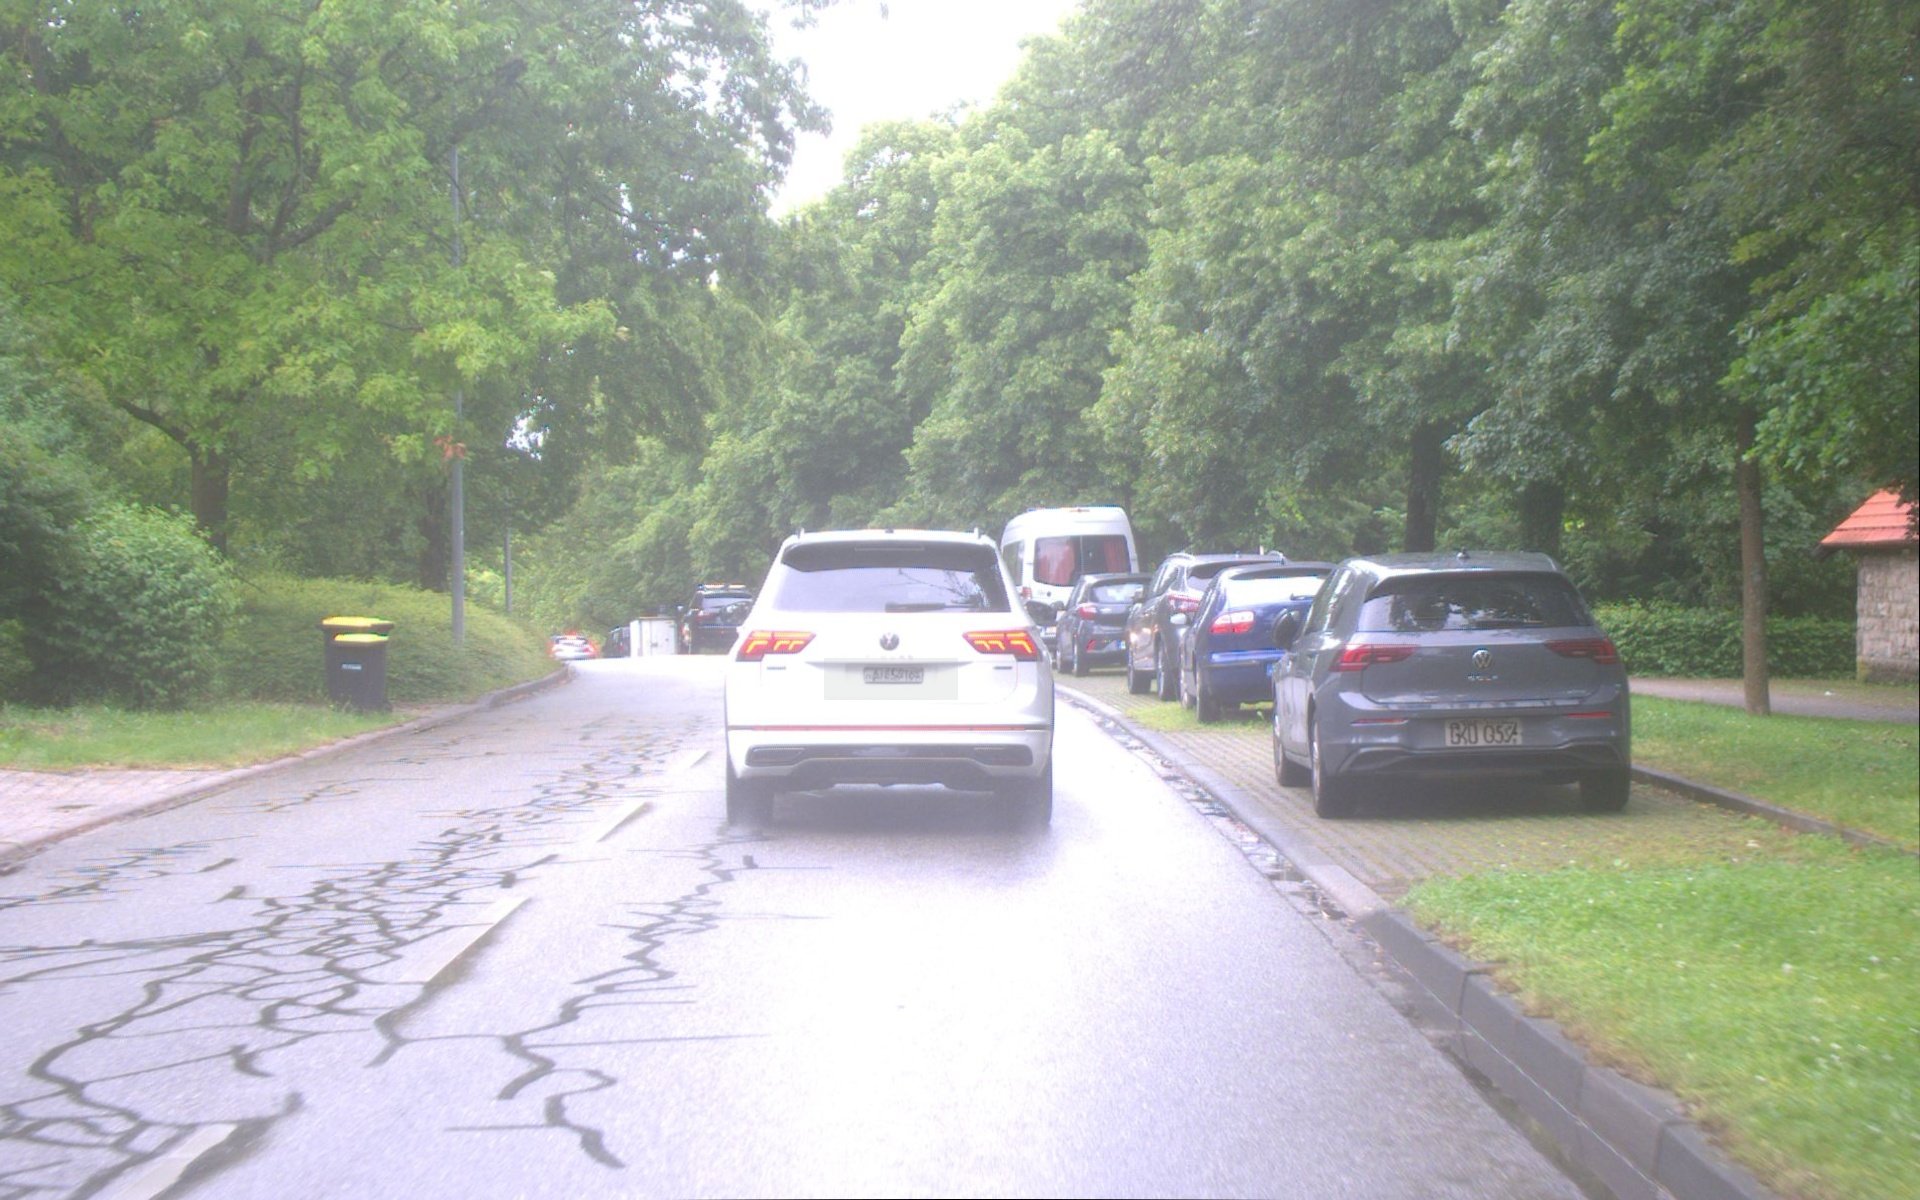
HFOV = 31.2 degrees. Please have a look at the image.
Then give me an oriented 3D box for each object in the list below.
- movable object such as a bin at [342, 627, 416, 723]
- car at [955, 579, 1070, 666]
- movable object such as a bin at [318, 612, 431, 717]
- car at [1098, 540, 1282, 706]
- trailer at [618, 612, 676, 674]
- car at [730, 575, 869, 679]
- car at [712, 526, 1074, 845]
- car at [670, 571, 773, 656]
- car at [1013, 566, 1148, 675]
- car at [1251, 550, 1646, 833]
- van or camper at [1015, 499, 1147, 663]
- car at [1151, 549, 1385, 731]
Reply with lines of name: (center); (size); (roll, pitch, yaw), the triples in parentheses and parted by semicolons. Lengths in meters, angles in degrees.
movable object such as a bin: (-6.121, 0.787, 36.241); (0.648, 0.976, 0.578); (1, 0, 1)
car: (0.970, 0.412, 65.868); (1.805, 1.534, 4.268); (-2, 0, -4)
movable object such as a bin: (-6.296, 0.685, 36.998); (1.037, 1.101, 0.966); (0, 0, 1)
car: (2.526, 0.215, 38.570); (1.781, 1.713, 4.261); (-2, 1, 1)
trailer: (-11.453, 1.597, 125.707); (1.529, 2.069, 4.000); (-2, -3, -13)
car: (-3.381, 0.535, 71.665); (1.993, 2.007, 4.001); (-1, 2, -16)
car: (-0.453, 0.432, 20.299); (1.905, 1.679, 4.201); (0, 1, -3)
car: (-6.010, 0.318, 86.397); (1.993, 2.007, 4.001); (-1, 2, -13)
car: (1.731, 0.272, 50.396); (1.865, 1.506, 3.724); (-1, 1, 1)
car: (2.785, 0.471, 20.448); (1.700, 1.456, 4.217); (-2, 0, 0)
van or camper: (1.992, -0.353, 59.098); (2.016, 2.574, 8.435); (1, 1, 1)
car: (2.796, 0.326, 31.992); (1.743, 1.447, 4.000); (5, 1, 1)
